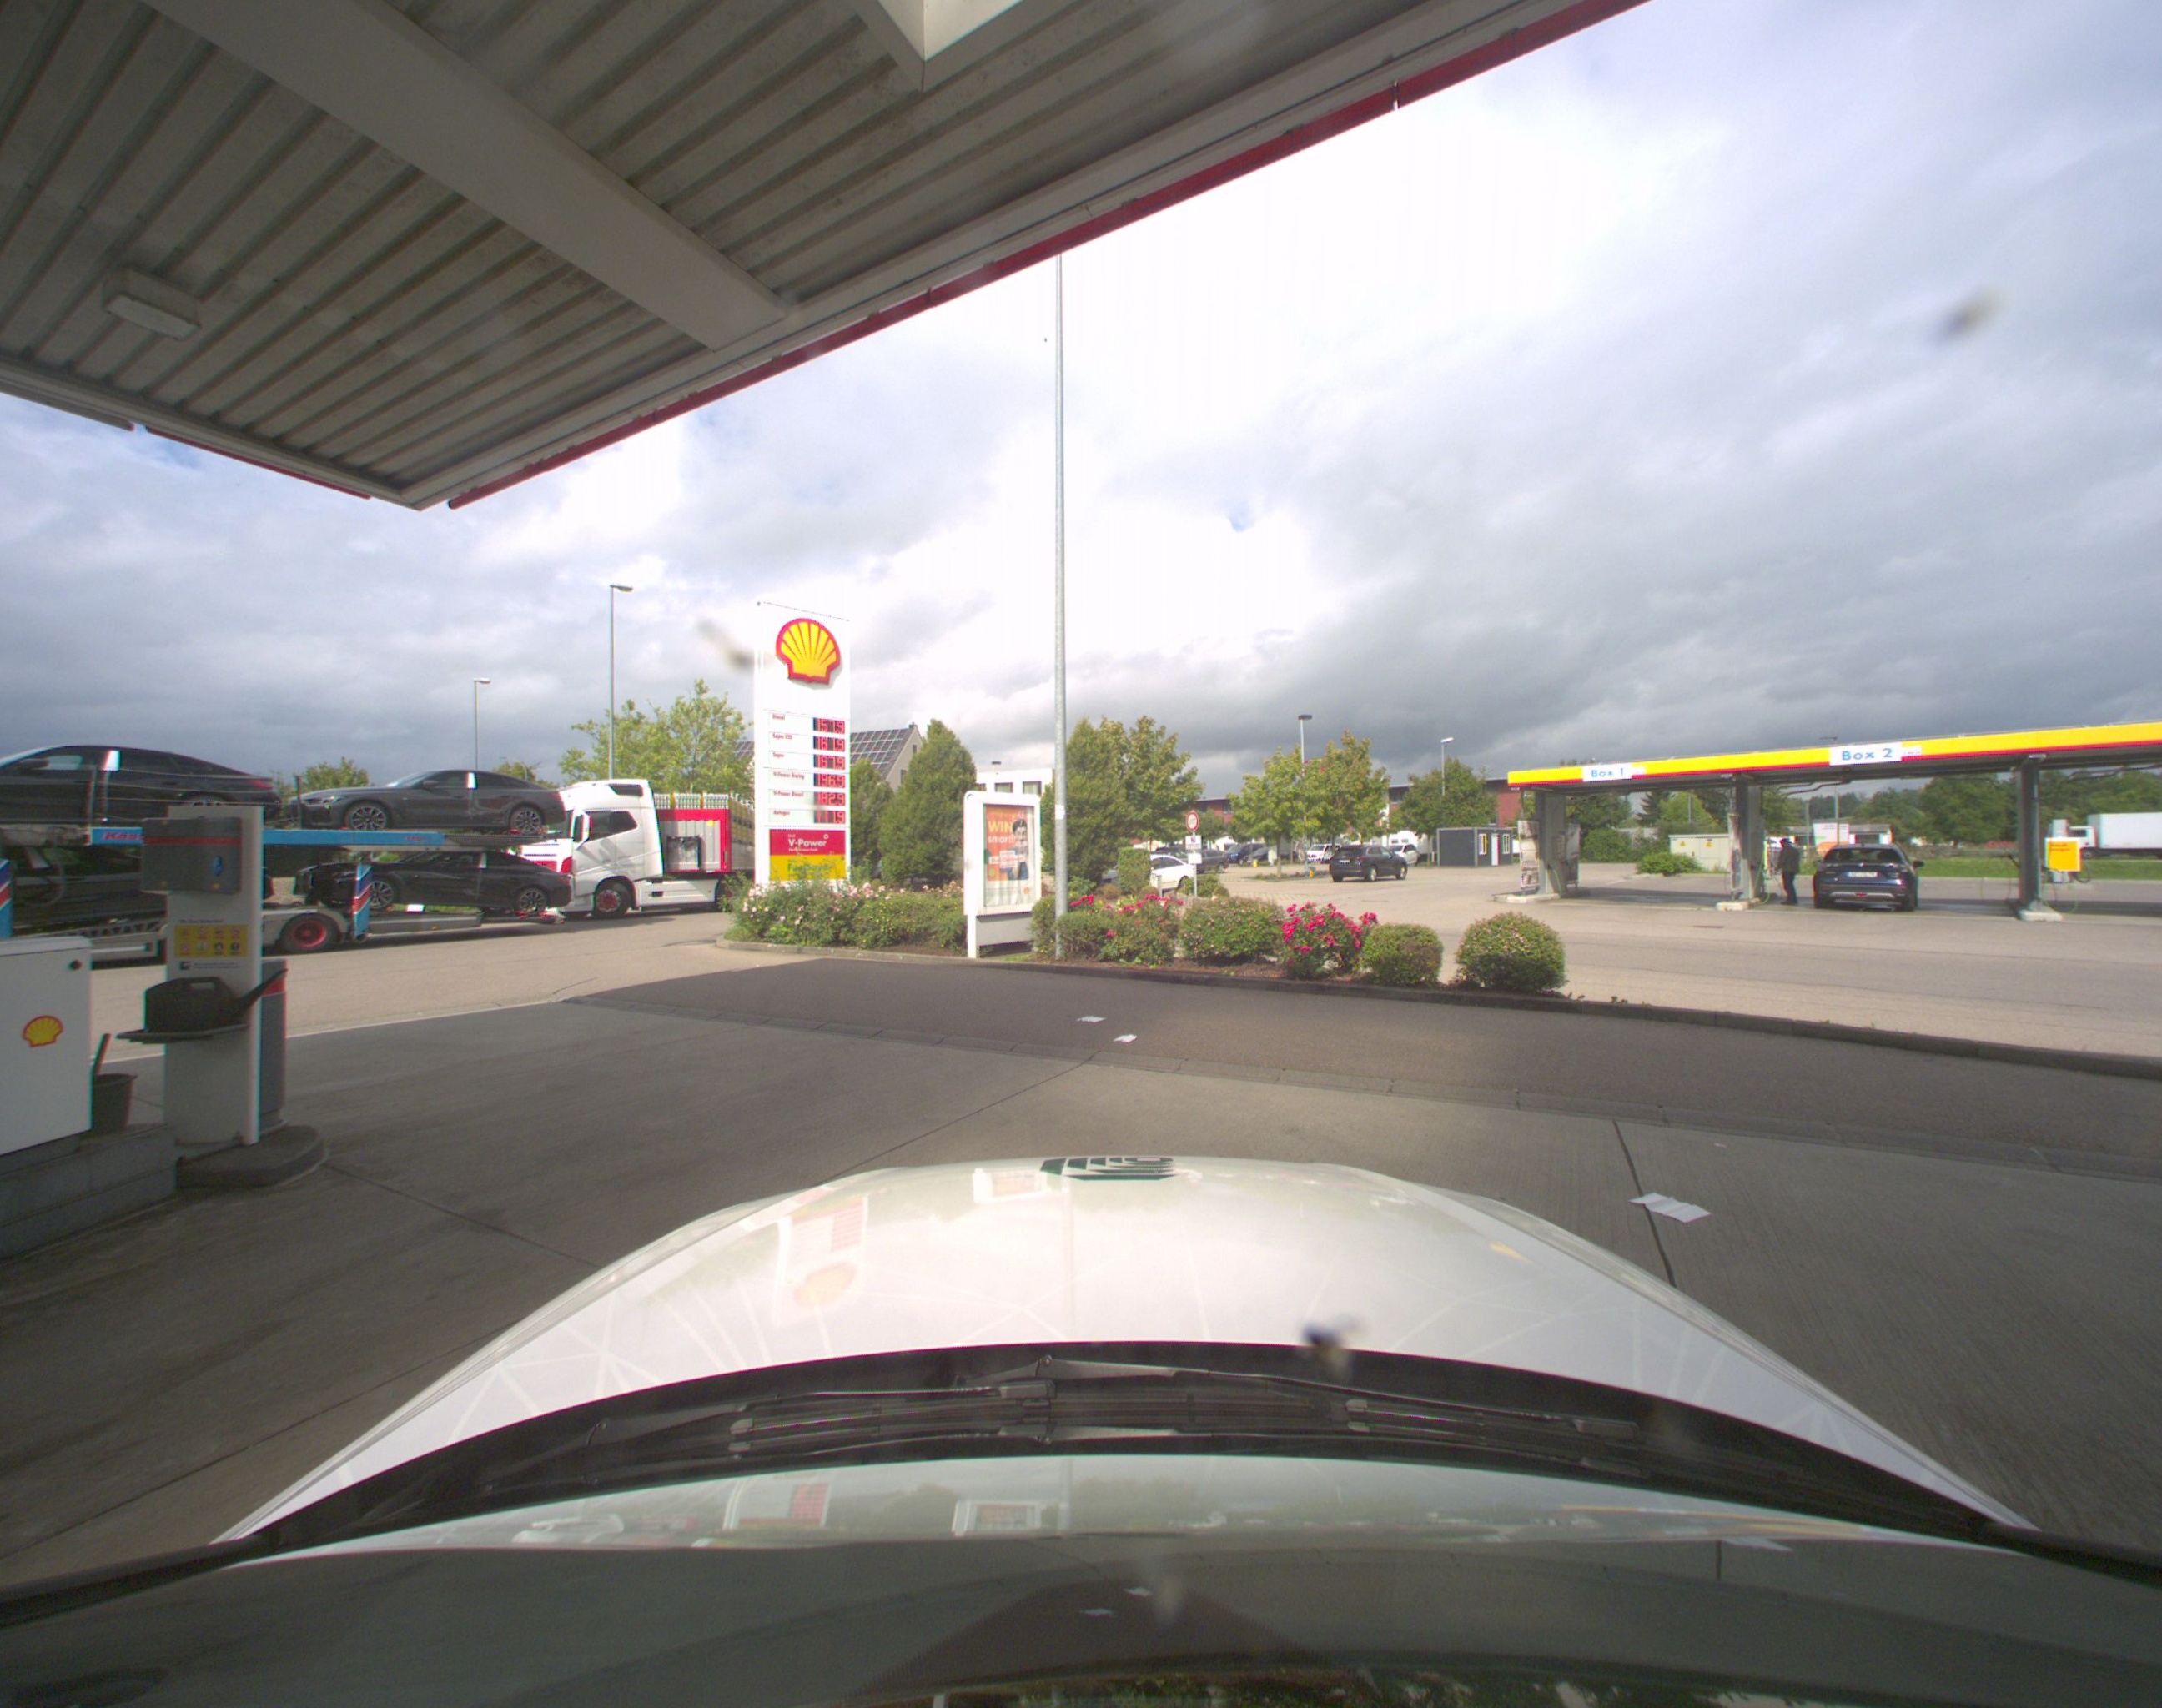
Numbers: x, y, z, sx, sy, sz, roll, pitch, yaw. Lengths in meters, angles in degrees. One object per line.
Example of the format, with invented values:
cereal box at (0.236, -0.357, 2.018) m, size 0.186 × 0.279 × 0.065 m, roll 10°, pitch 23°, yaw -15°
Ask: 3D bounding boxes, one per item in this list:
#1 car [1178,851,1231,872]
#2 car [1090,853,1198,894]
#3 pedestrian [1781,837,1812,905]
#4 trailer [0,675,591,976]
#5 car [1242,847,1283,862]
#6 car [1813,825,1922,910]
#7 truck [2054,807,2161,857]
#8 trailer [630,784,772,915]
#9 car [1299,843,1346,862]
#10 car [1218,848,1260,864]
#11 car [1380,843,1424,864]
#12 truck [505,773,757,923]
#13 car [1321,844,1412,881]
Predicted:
car at (7.533, 0.450, 49.695) m, size 3.245 × 1.228 × 1.488 m, roll 0°, pitch -1°, yaw -42°
car at (2.387, 0.686, 30.010) m, size 4.368 × 1.404 × 1.354 m, roll 0°, pitch -1°, yaw -42°
pedestrian at (18.472, 0.438, 21.028) m, size 0.551 × 1.722 × 0.531 m, roll -1°, pitch -1°, yaw 39°
trailer at (-16.442, -0.404, 13.674) m, size 2.711 × 4.423 × 14.450 m, roll -1°, pitch -1°, yaw 31°
car at (14.486, 0.034, 64.865) m, size 3.437 × 1.179 × 1.468 m, roll 0°, pitch -1°, yaw -42°
car at (19.431, 0.312, 20.064) m, size 3.828 × 1.897 × 1.703 m, roll 0°, pitch -1°, yaw -43°
truck at (78.224, -1.580, 59.996) m, size 7.989 × 3.534 × 2.714 m, roll -1°, pitch -1°, yaw 41°
trailer at (-13.435, -0.071, 30.008) m, size 2.736 × 3.776 × 12.643 m, roll 0°, pitch -1°, yaw -16°
car at (23.867, -0.125, 80.257) m, size 4.903 × 1.833 × 2.159 m, roll 0°, pitch -1°, yaw -41°
car at (12.944, 0.182, 66.649) m, size 3.407 × 1.320 × 1.726 m, roll 0°, pitch -1°, yaw -42°
car at (20.601, -0.049, 52.205) m, size 3.120 × 1.307 × 1.352 m, roll 0°, pitch -1°, yaw -42°
truck at (-13.045, -0.124, 24.123) m, size 2.706 × 3.846 × 5.956 m, roll -1°, pitch -1°, yaw 31°
car at (12.869, 0.374, 36.569) m, size 4.527 × 1.548 × 1.864 m, roll 0°, pitch -1°, yaw -41°
